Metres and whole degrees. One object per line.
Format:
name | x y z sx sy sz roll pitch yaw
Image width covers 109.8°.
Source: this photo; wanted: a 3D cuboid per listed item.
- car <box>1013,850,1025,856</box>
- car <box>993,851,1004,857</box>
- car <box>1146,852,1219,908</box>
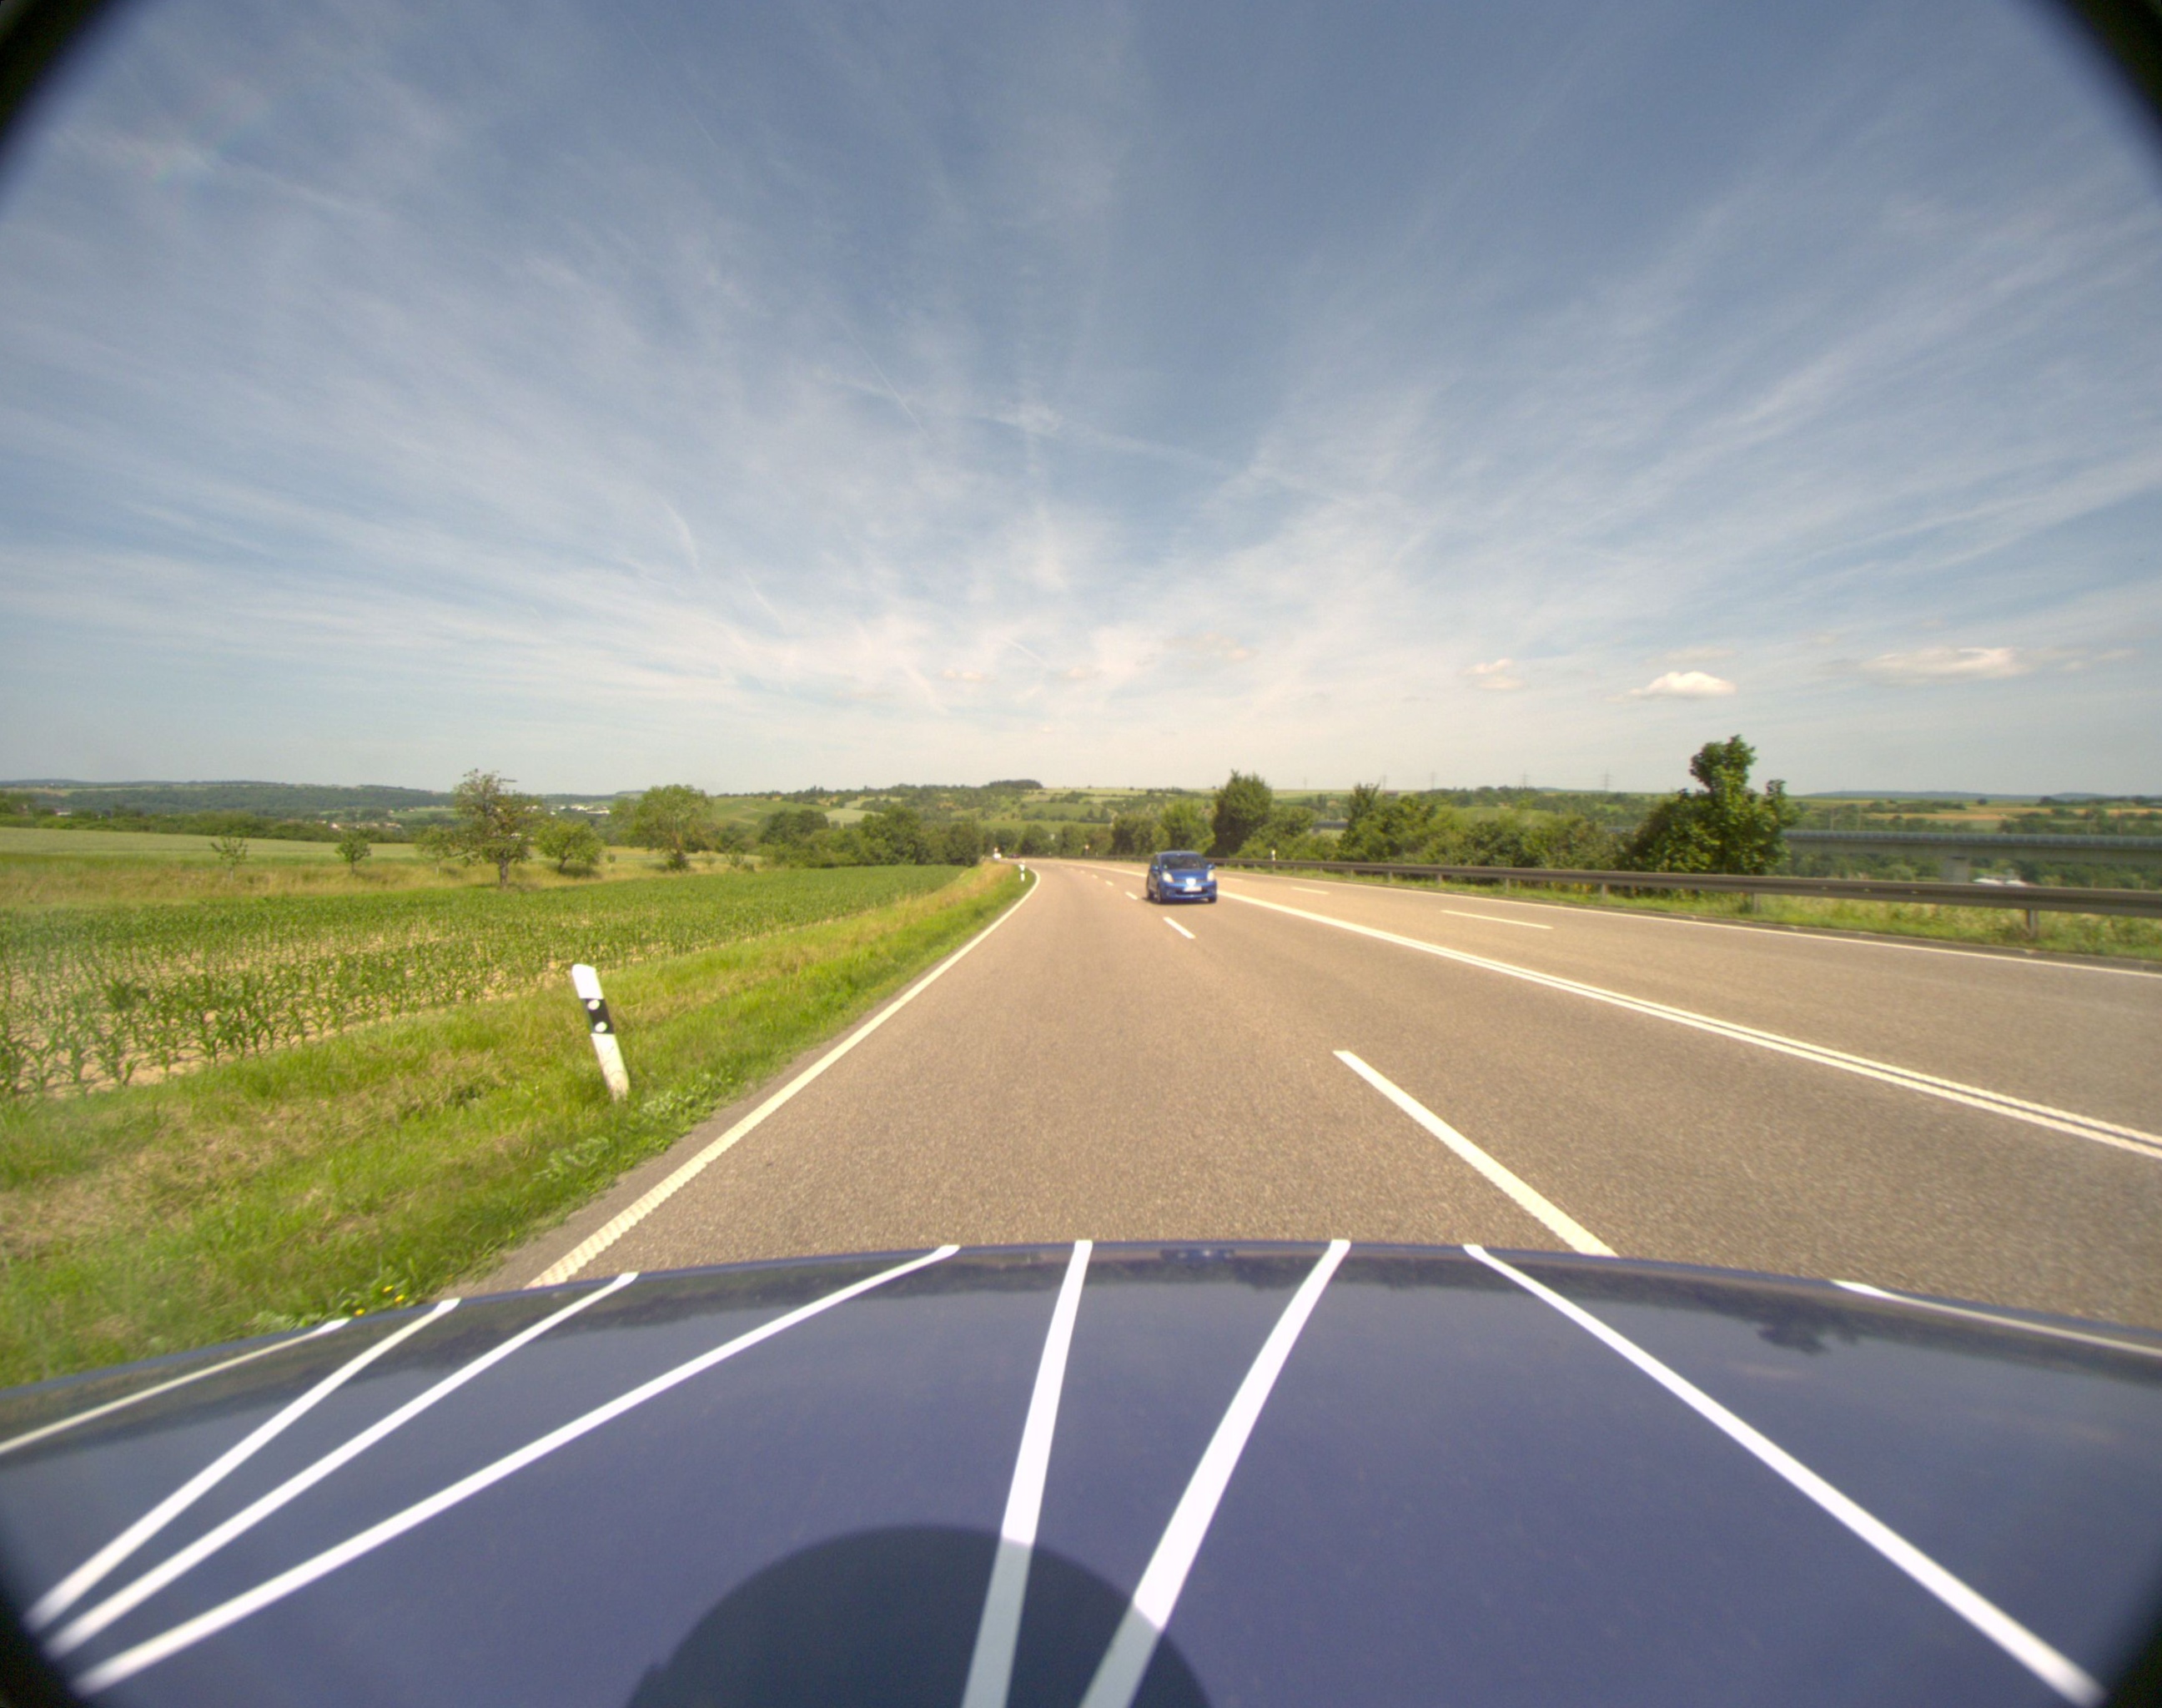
car | -15.241 -0.260 187.078 1.844 1.447 4.319 -1 1 -18
car | -22.077 0.032 202.837 1.665 1.449 3.726 -2 1 -24
car | 3.024 0.740 23.350 1.636 1.522 3.914 -2 0 0
